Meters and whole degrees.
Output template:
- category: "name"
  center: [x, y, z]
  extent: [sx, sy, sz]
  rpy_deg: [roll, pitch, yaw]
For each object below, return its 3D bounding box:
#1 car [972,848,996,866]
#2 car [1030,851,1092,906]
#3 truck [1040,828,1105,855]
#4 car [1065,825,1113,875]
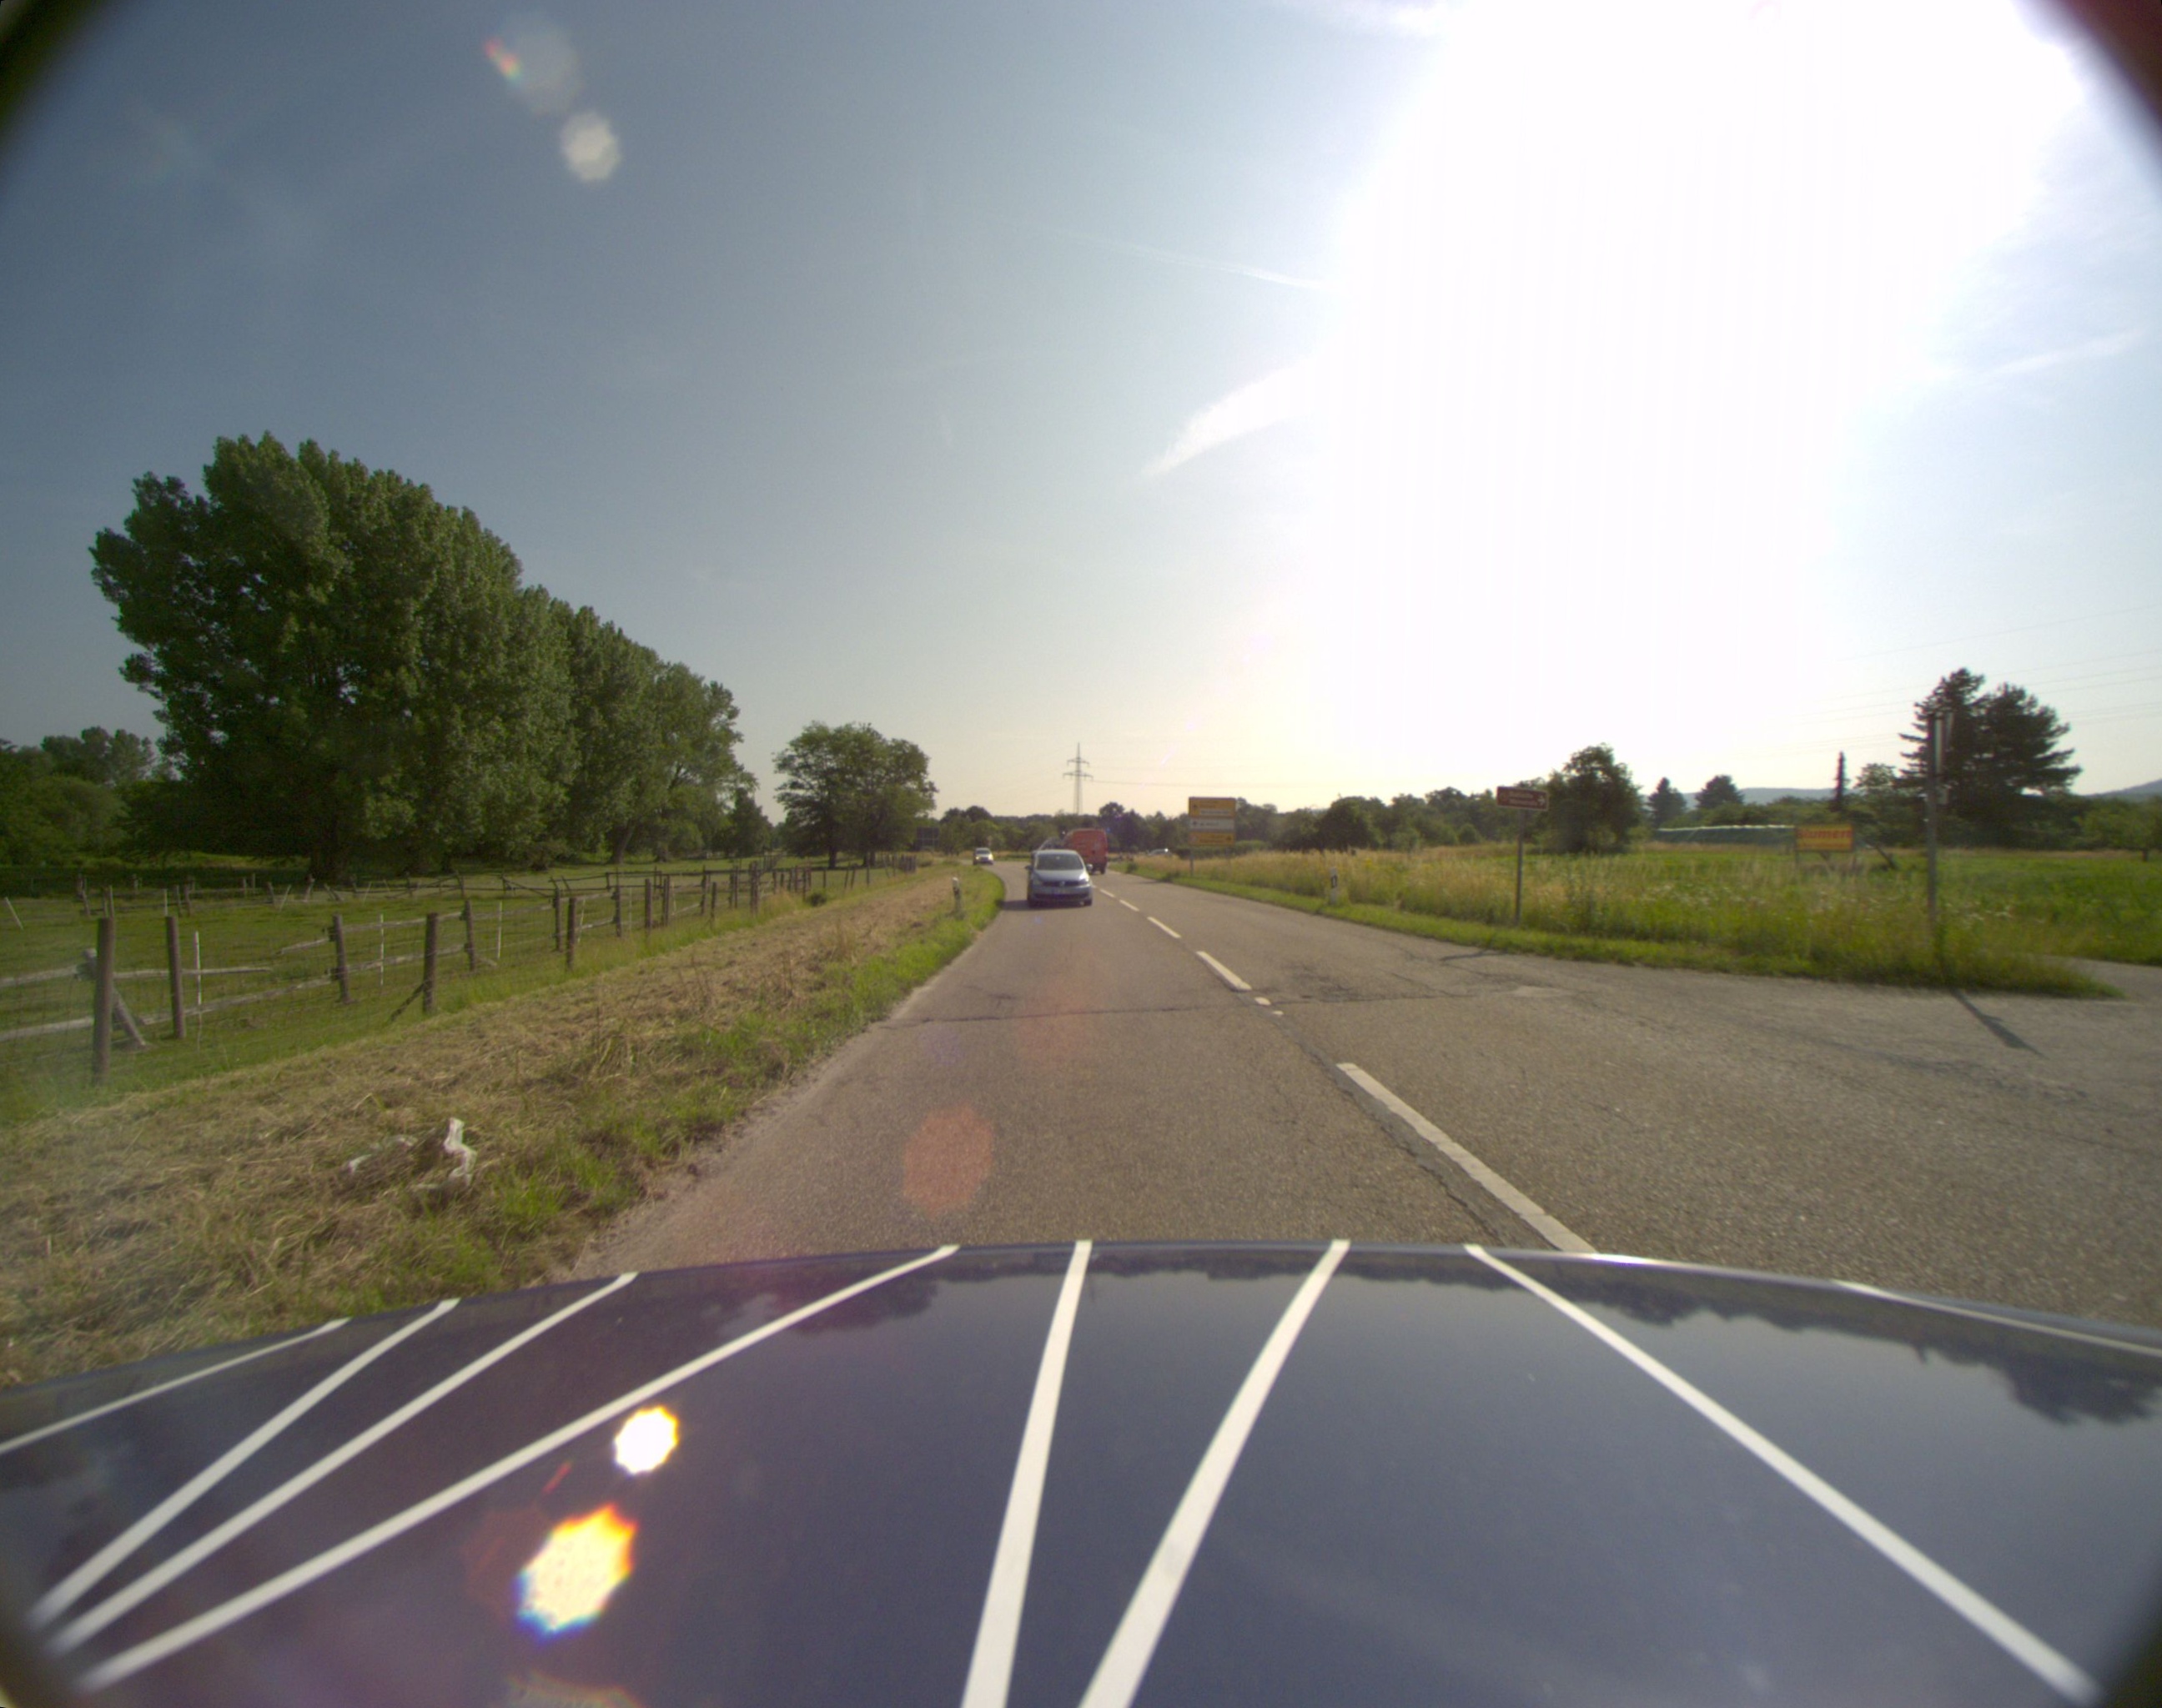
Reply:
- category: "car"
  center: [-9.160, 0.246, 71.523]
  extent: [2.000, 1.571, 3.905]
  rpy_deg: [-2, 1, -9]
- category: "car"
  center: [-0.710, 0.693, 23.886]
  extent: [1.718, 1.496, 4.091]
  rpy_deg: [-2, 1, -4]
- category: "truck"
  center: [-1.062, -1.507, 90.972]
  extent: [7.367, 3.028, 2.581]
  rpy_deg: [-1, 1, -12]
- category: "car"
  center: [0.399, -0.252, 43.872]
  extent: [2.130, 2.680, 5.264]
  rpy_deg: [-1, 1, -6]
